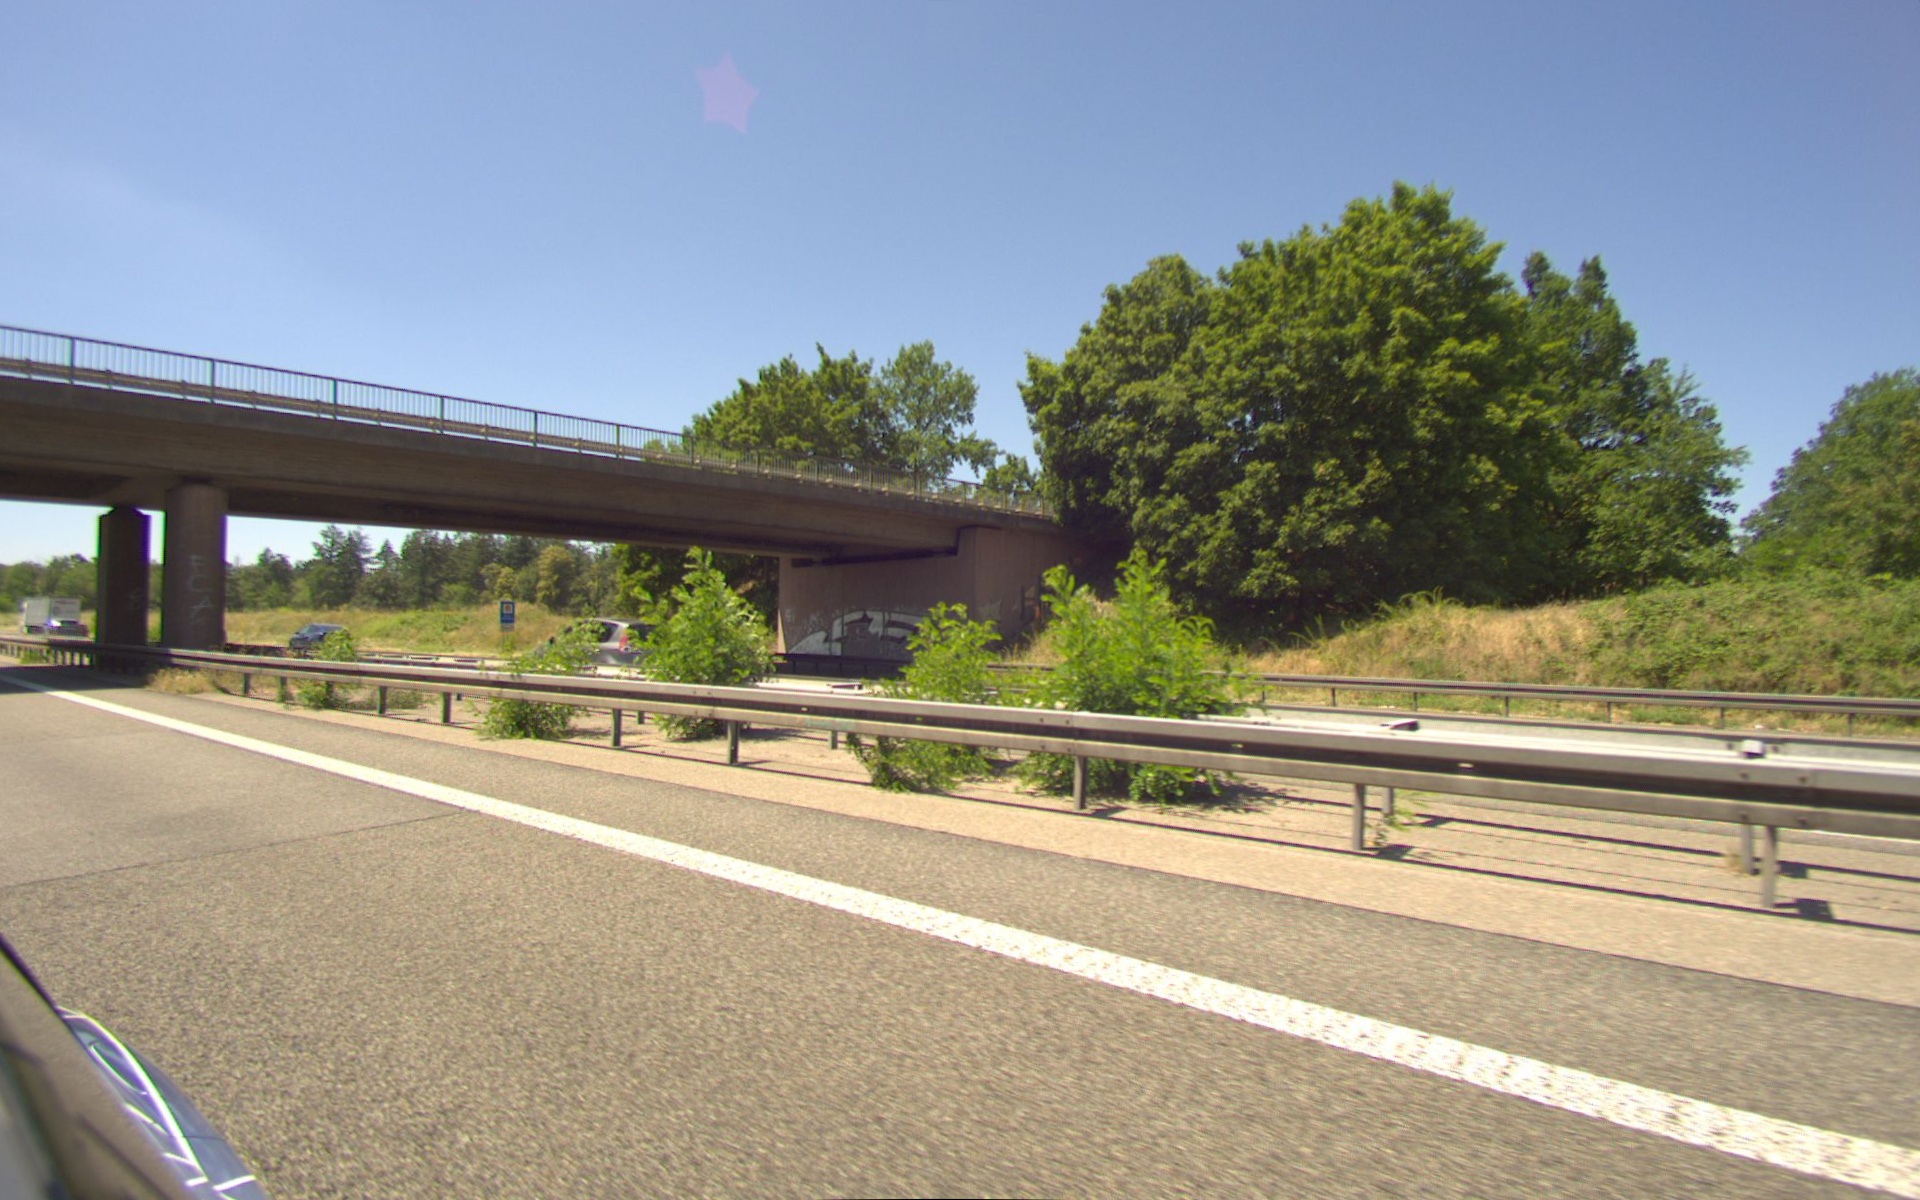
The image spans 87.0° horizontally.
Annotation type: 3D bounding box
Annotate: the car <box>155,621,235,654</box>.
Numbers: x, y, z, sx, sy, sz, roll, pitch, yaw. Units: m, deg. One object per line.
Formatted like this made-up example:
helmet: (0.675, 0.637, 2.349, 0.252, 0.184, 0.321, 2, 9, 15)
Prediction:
car: (-40.391, 2.005, 53.412, 5.055, 1.623, 2.205, -1, -4, 40)

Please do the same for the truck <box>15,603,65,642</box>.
truck: (-100.362, 2.509, 110.413, 6.947, 3.990, 2.919, -2, -5, 40)

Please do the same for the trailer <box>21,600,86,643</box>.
trailer: (-95.088, 2.345, 105.998, 14.091, 4.139, 2.919, -2, -5, 40)

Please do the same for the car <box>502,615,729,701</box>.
car: (-7.369, 1.197, 21.432, 5.055, 1.623, 2.205, -1, -4, 40)

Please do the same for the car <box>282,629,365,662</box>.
car: (-33.579, 2.385, 53.362, 5.055, 1.623, 2.205, -1, -4, 40)

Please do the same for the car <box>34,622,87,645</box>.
car: (-67.779, 2.553, 76.234, 5.055, 1.623, 2.205, -1, -4, 40)
